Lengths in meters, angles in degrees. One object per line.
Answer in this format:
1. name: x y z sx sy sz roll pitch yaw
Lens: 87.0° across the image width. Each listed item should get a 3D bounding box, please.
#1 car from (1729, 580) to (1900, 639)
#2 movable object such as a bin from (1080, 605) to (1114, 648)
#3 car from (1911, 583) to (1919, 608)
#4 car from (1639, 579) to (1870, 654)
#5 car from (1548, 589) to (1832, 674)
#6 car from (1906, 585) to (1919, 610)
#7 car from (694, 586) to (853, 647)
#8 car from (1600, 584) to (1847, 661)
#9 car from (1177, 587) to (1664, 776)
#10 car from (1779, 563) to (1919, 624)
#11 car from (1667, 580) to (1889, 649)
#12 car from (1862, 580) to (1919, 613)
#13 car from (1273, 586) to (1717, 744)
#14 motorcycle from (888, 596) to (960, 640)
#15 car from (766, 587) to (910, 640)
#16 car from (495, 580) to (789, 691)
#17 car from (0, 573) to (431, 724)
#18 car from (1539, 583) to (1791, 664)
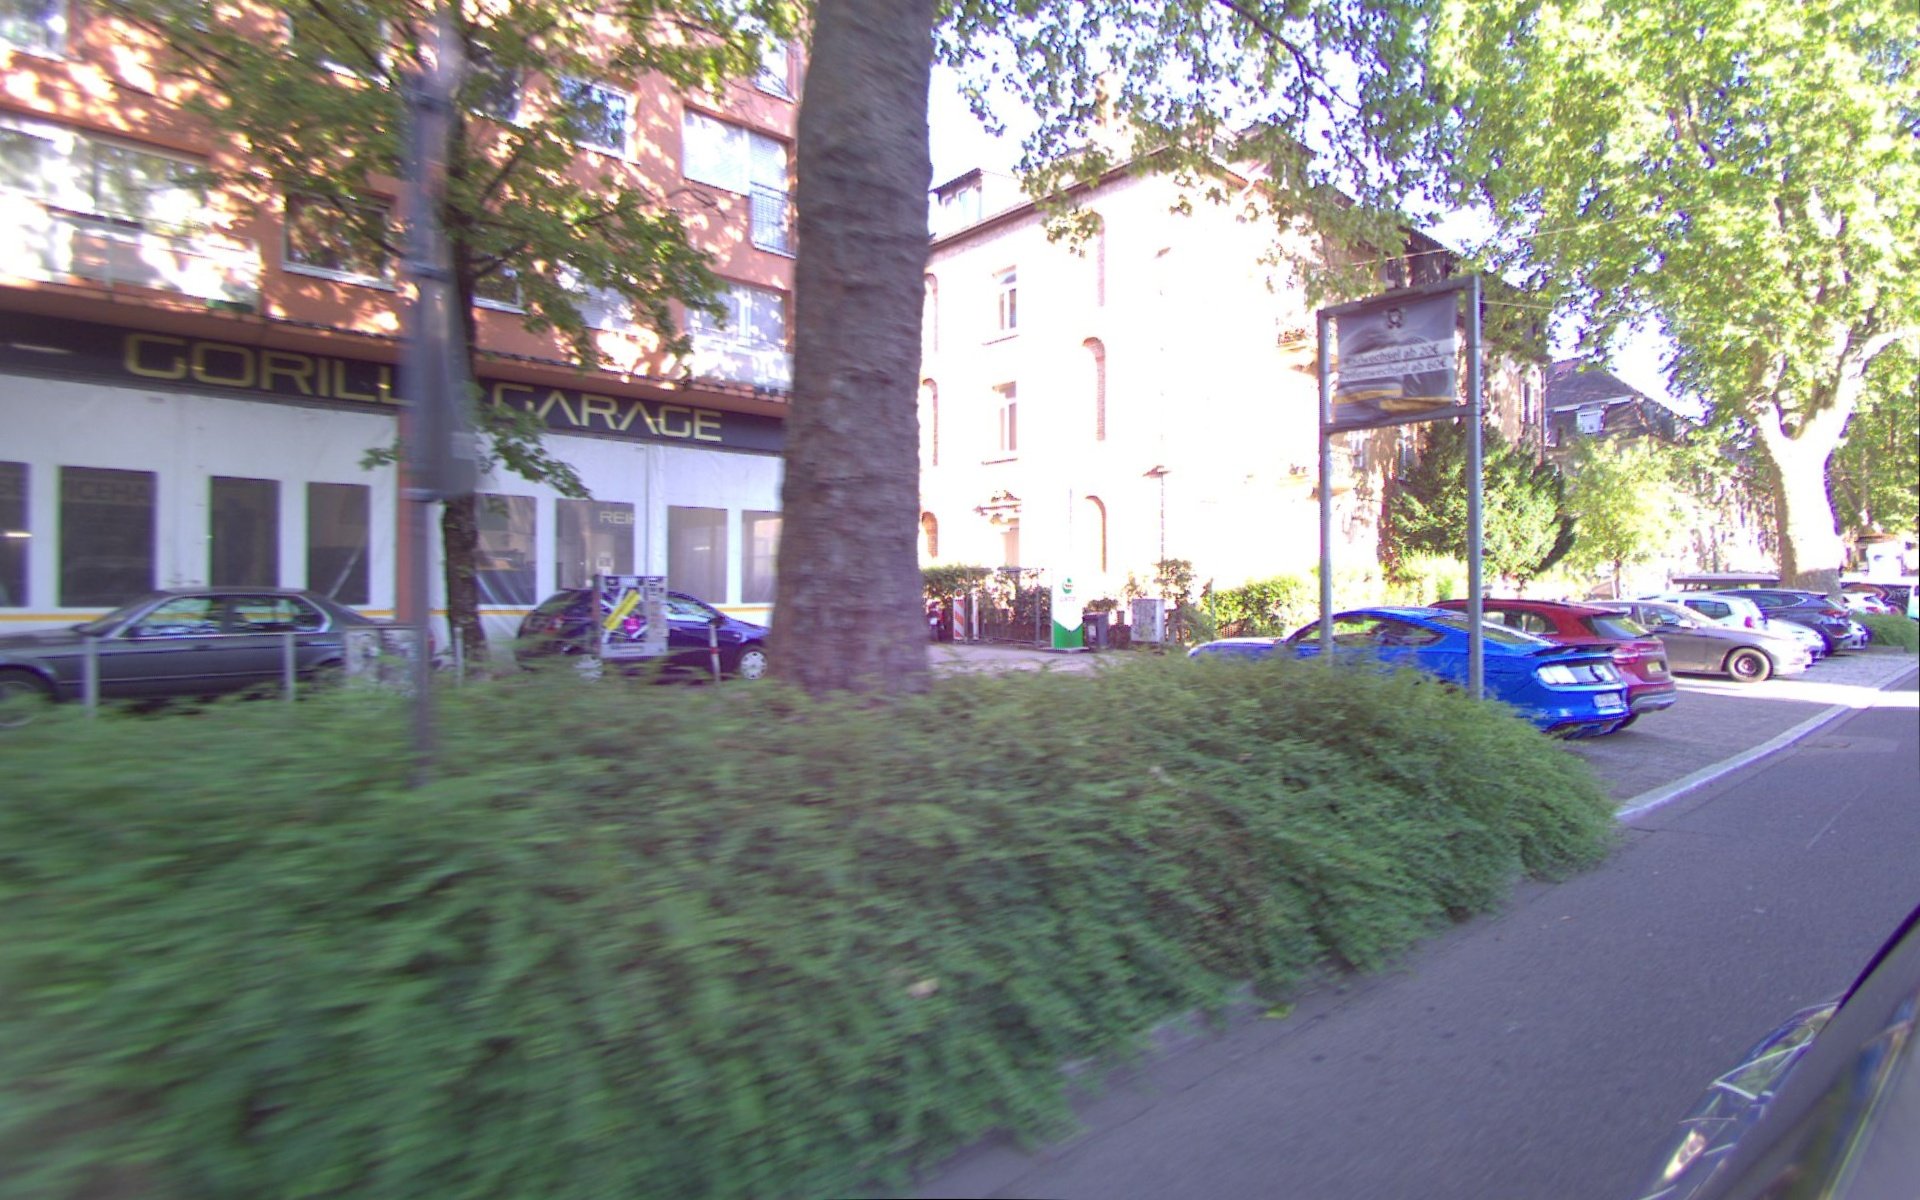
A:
1. car: 25.826 0.233 30.654 1.761 1.639 3.786 0 2 -43
2. movable object such as a bin: 3.152 0.613 23.313 0.438 0.951 0.659 -2 1 -37
3. car: 64.234 -0.265 64.854 1.858 1.661 4.611 1 0 -39
4. car: 19.111 0.349 24.463 1.848 1.639 4.202 0 0 -44
5. car: 14.008 0.529 19.609 1.786 1.466 4.206 0 0 -42
6. car: 61.080 -0.135 61.830 1.858 1.513 4.611 1 0 -39
7. car: -4.743 0.358 25.492 3.983 1.407 1.914 0 1 41
8. car: 17.271 0.439 23.066 1.785 1.594 4.209 0 0 -39
9. car: 4.561 0.653 10.710 1.783 1.562 4.418 0 0 -34
10. car: 32.456 -0.269 36.082 2.159 2.038 4.849 0 2 -45
11. car: 21.068 0.315 26.211 1.785 1.639 4.209 0 0 -39
12. car: 49.546 -0.155 51.821 1.860 1.652 4.806 1 0 -41
13. car: 6.284 0.623 12.340 1.917 1.562 4.413 0 0 -39
14. motorcycle: -1.015 0.470 27.738 0.792 1.117 2.385 0 1 -35
15. car: -3.423 0.314 27.923 1.911 1.343 3.989 -1 1 -45
16. car: -4.703 0.439 15.251 3.882 1.453 1.751 -1 1 -42
17. car: -8.640 0.441 11.499 4.391 1.453 1.751 -1 1 -42
18. car: 15.262 0.443 22.099 1.785 1.575 4.209 0 0 -39
